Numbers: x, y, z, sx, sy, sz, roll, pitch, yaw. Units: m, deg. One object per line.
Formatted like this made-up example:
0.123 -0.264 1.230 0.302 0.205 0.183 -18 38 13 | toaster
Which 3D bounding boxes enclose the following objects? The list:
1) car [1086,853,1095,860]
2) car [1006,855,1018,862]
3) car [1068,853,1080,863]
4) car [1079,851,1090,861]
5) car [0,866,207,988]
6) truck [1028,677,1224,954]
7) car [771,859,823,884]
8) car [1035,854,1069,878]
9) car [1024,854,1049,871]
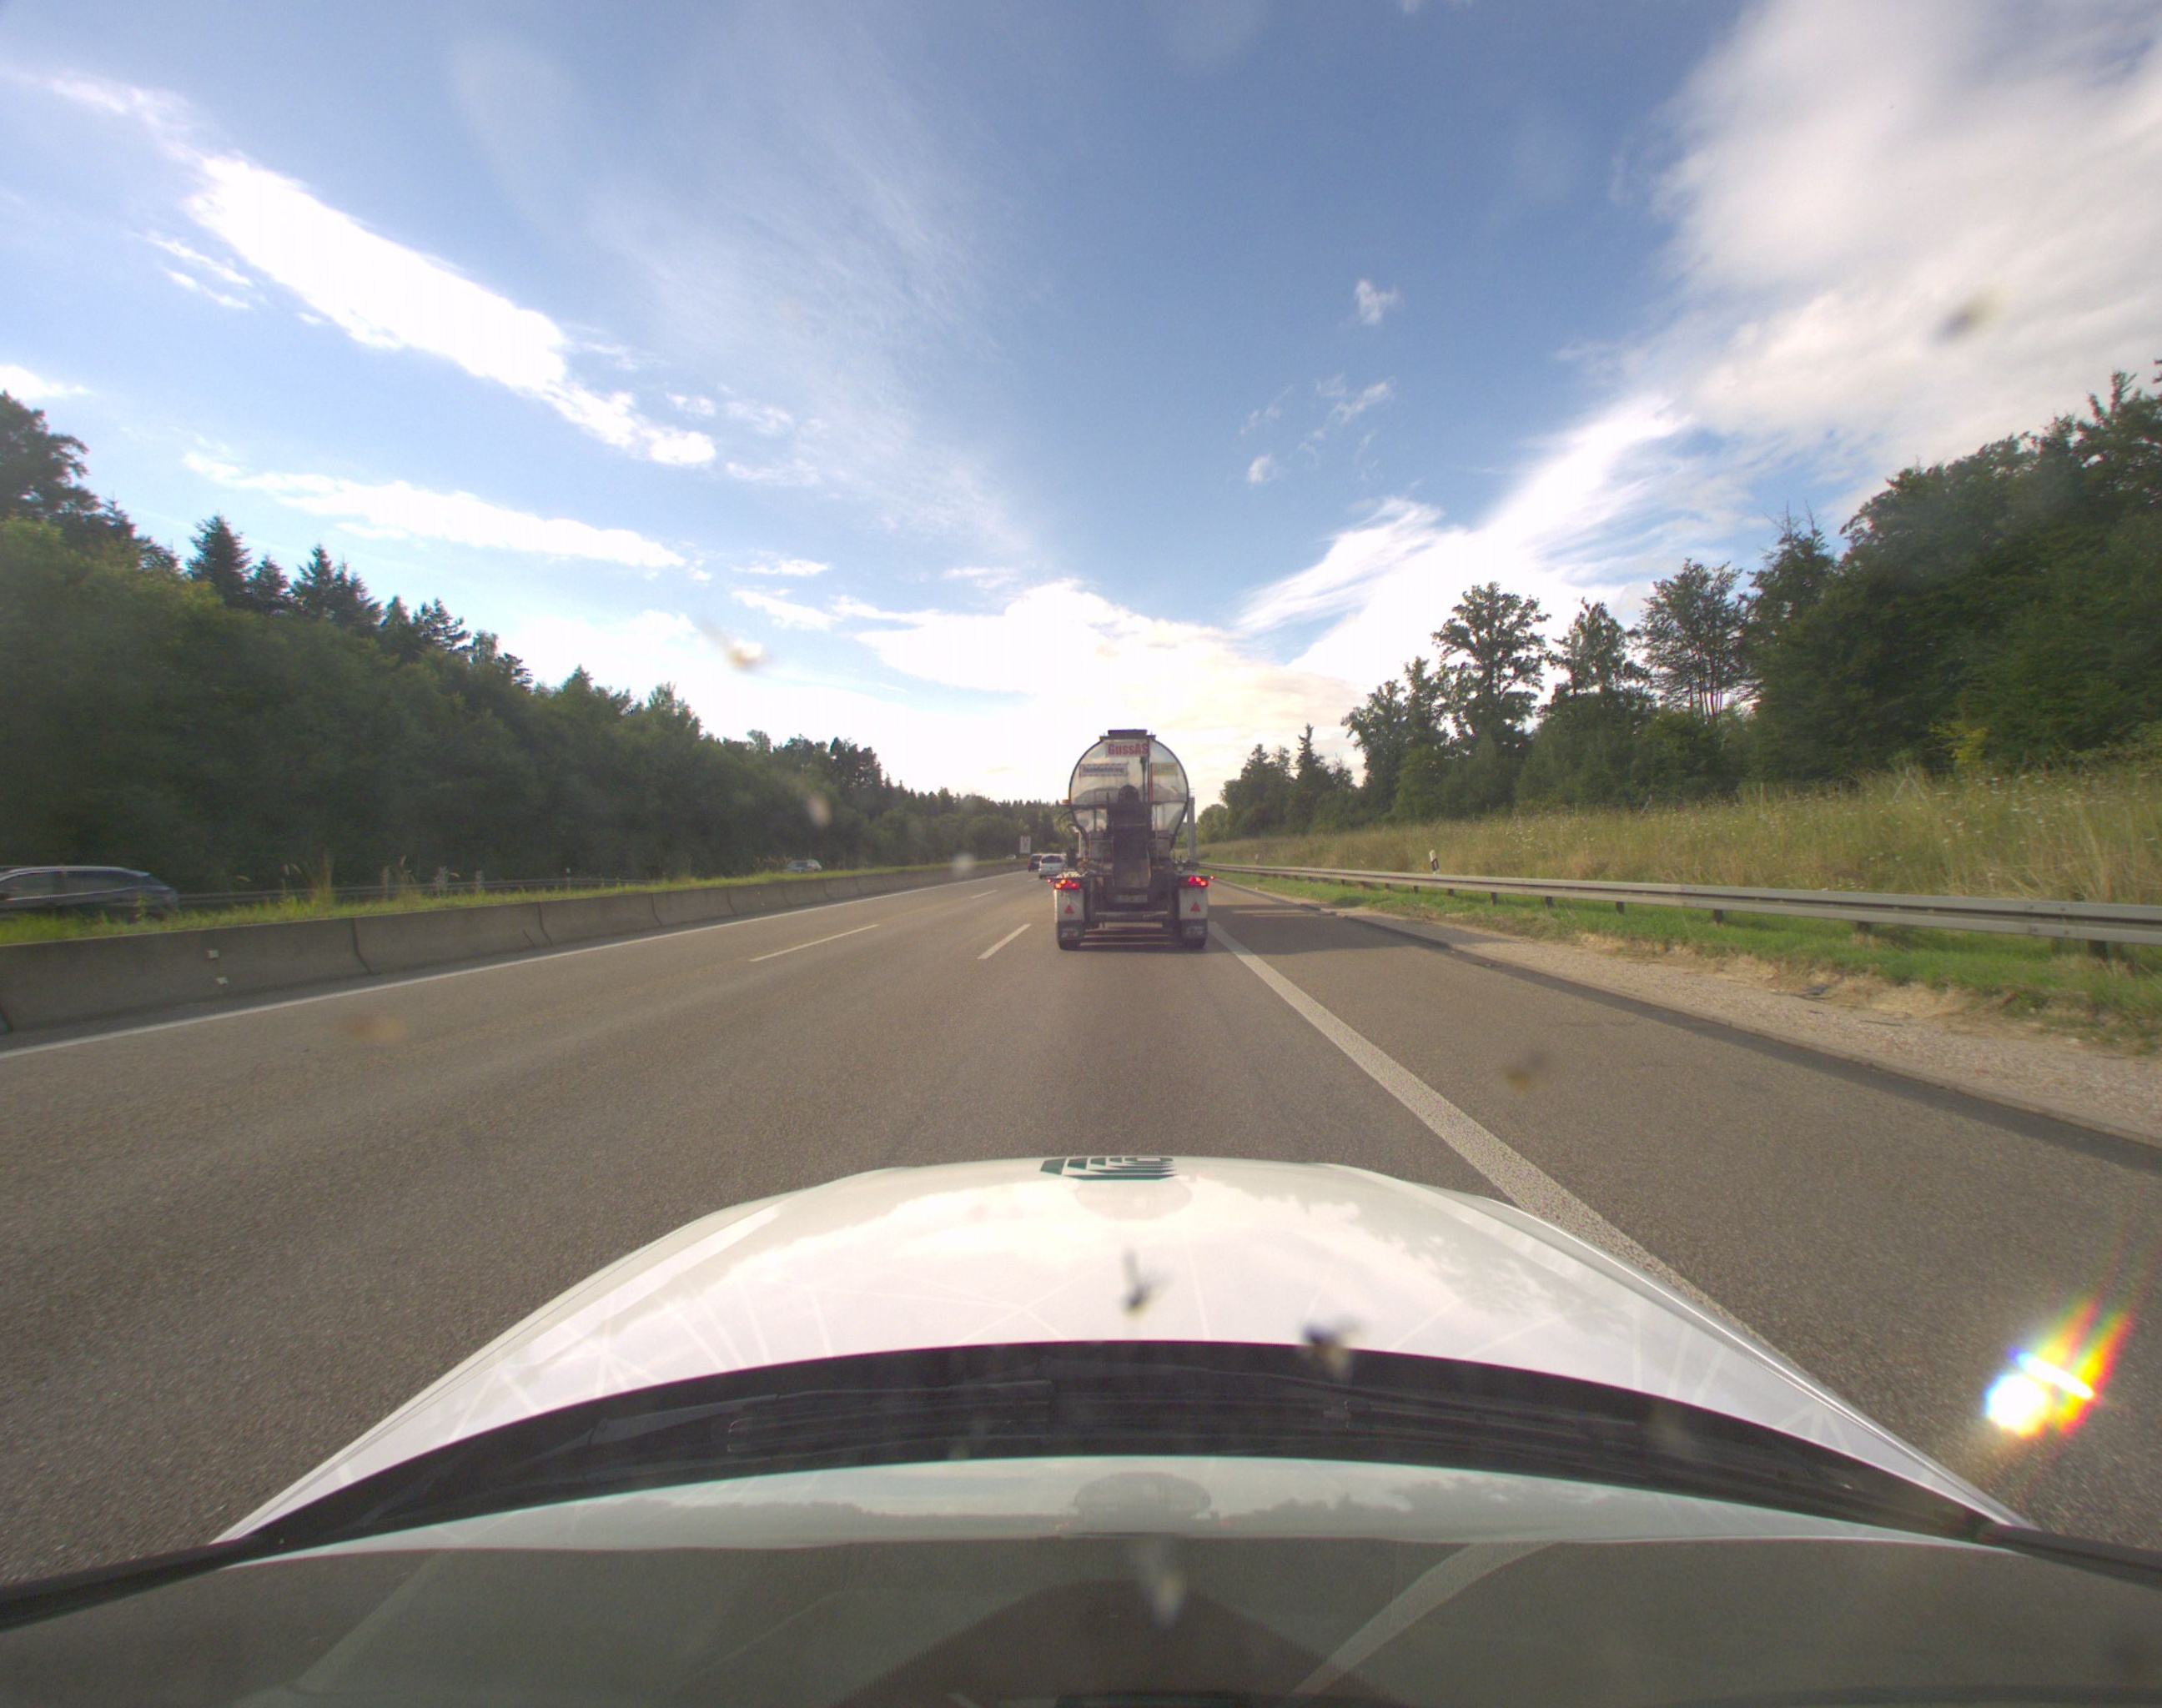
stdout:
2.004 0.510 174.687 1.799 1.586 4.209 -1 0 2 | car
-13.682 0.852 161.858 1.809 1.290 3.547 -1 0 3 | car
-1.020 0.657 124.534 1.612 1.544 3.522 0 0 2 | car
0.590 0.370 144.977 1.839 1.783 4.001 -1 0 2 | car
-18.046 1.195 13.610 1.986 1.881 4.440 -1 0 2 | car
0.983 -0.587 18.027 2.900 4.157 11.278 -1 0 3 | truck
-20.004 1.186 57.516 1.872 1.628 4.572 -1 0 2 | car
-1.880 0.763 53.472 1.828 1.517 4.336 -1 0 3 | car
-4.118 0.752 75.280 1.828 1.517 4.336 -1 0 3 | car
